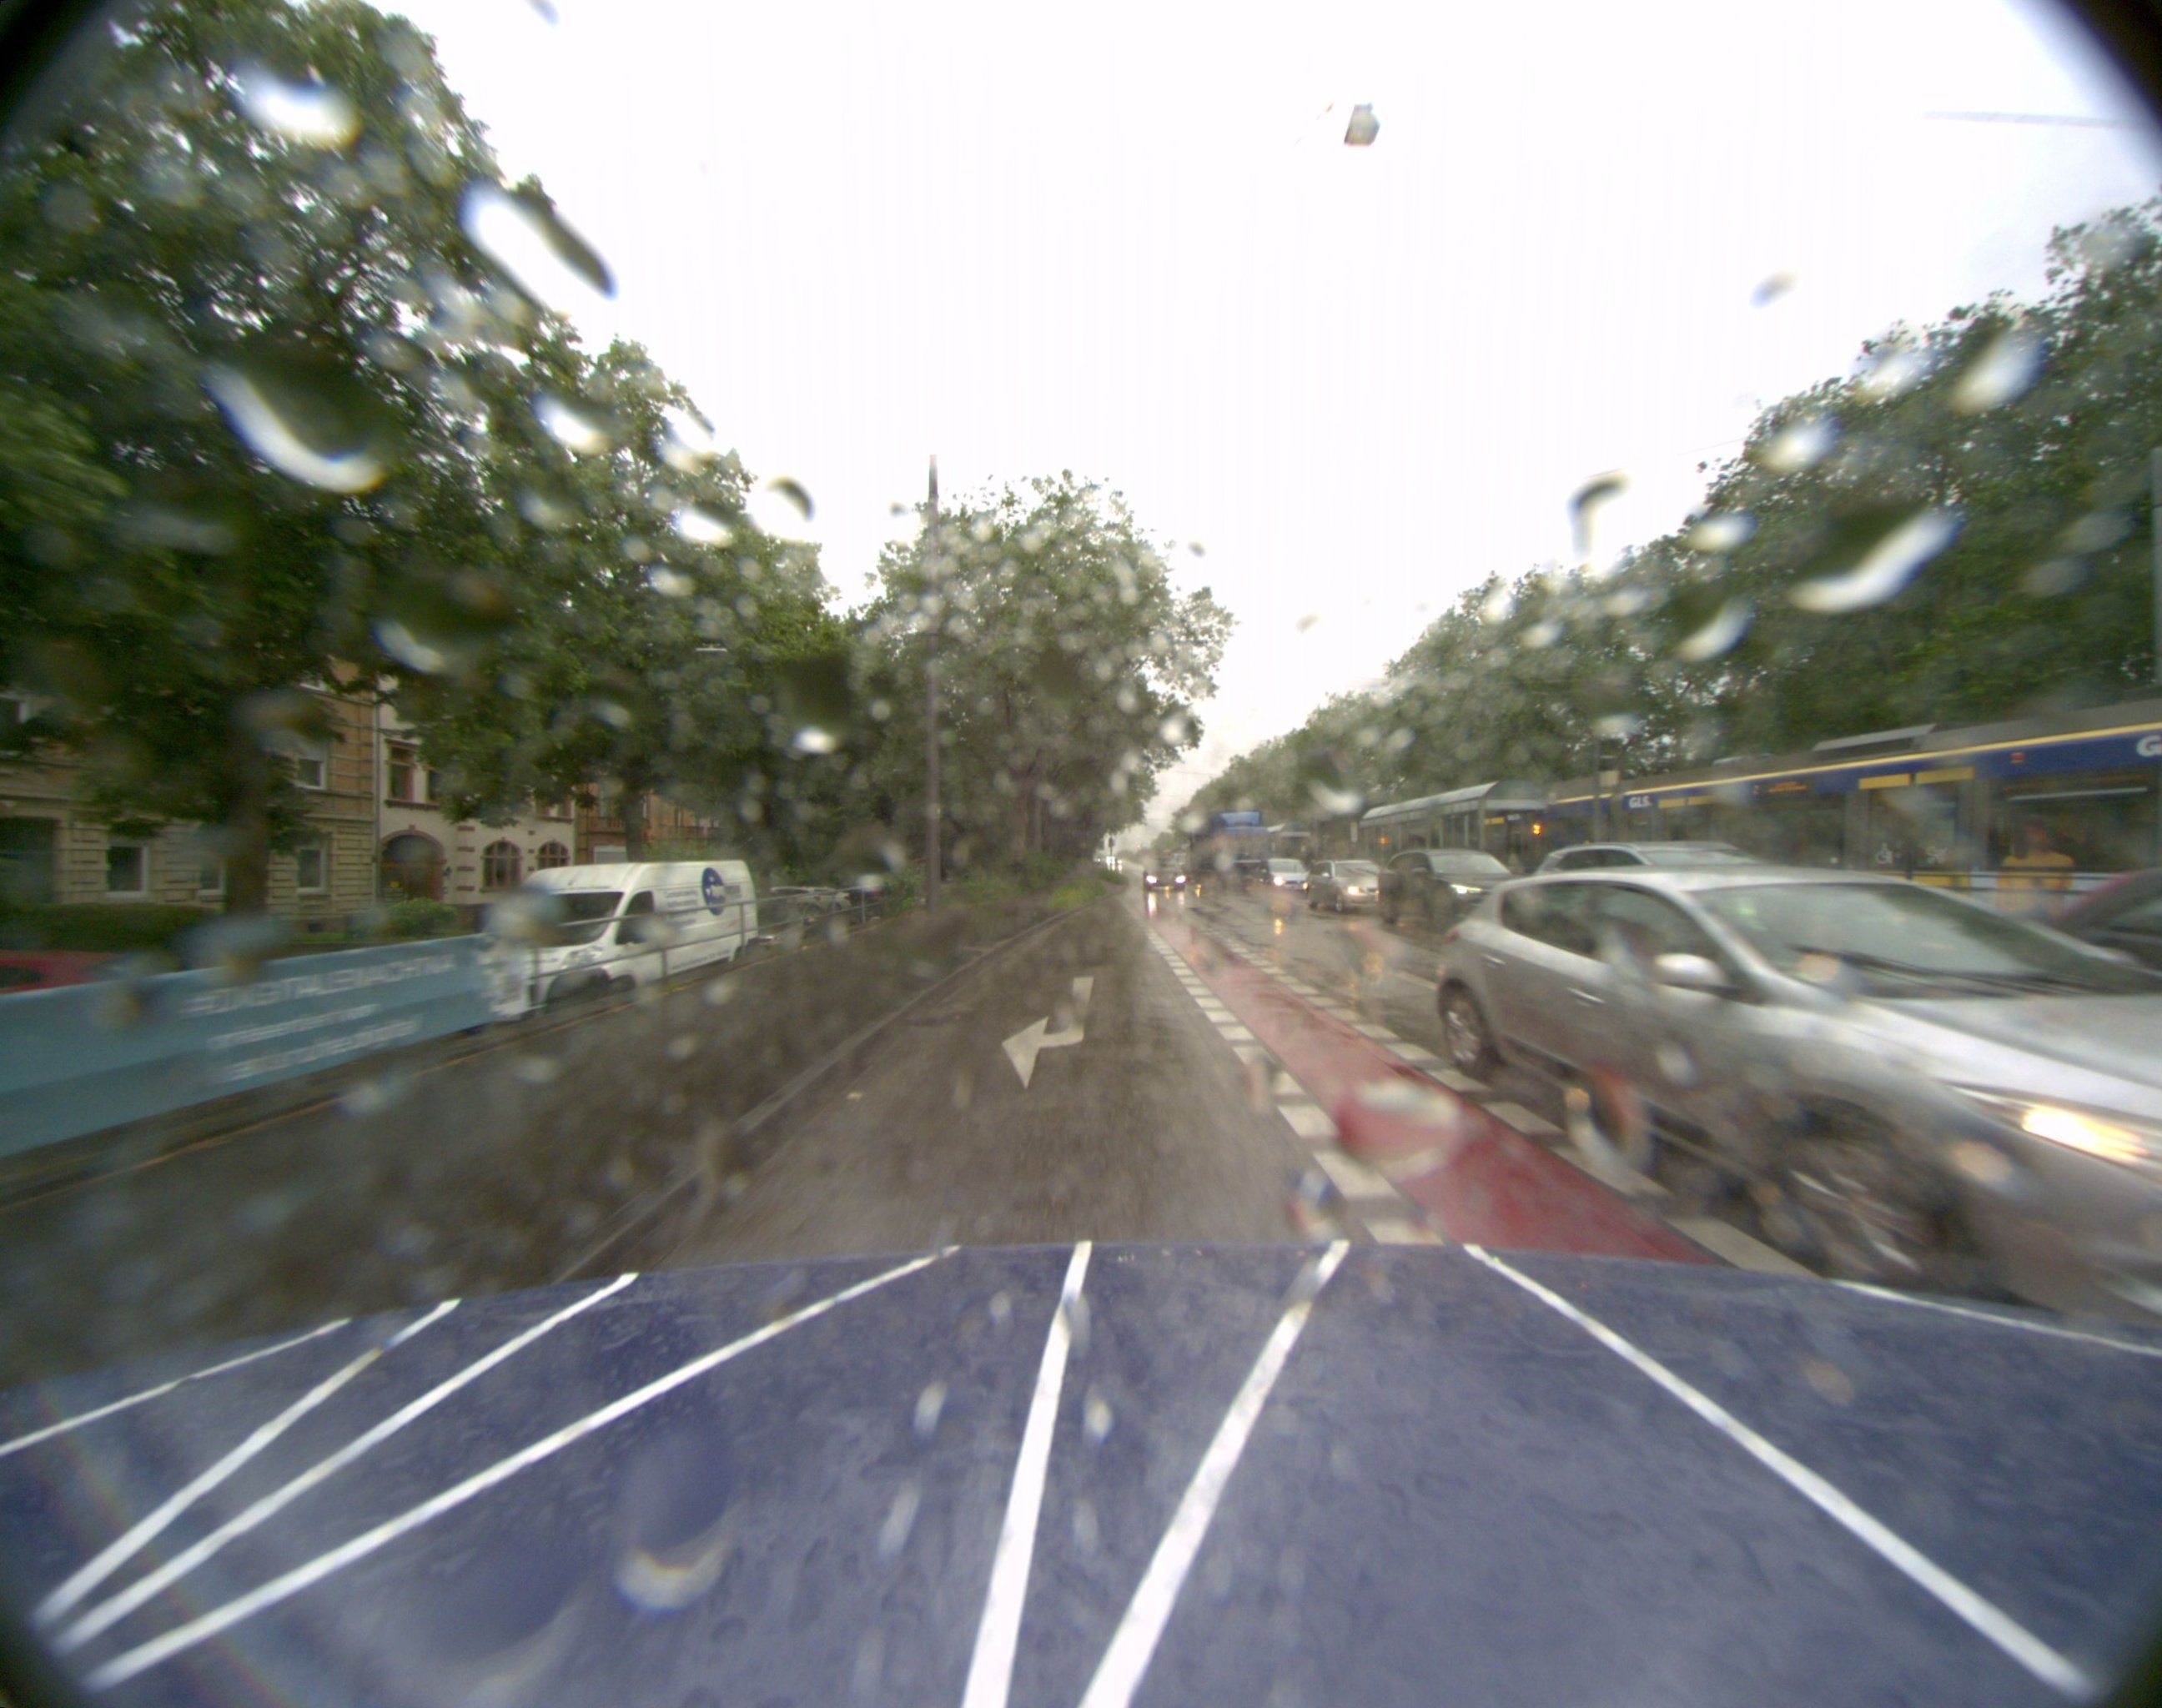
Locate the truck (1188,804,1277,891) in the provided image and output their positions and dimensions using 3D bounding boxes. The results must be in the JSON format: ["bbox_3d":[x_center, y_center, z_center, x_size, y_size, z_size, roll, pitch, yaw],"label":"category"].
[{"bbox_3d":[7.490,-0.278,38.964,2.545,3.866,9.811,0,0,0],"label":"truck"}]

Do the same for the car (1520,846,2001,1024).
[{"bbox_3d":[7.445,0.732,9.129,1.919,1.614,4.455,0,0,3],"label":"car"}]

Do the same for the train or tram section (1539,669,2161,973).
[{"bbox_3d":[13.872,-0.451,12.357,3.549,3.393,15.504,-3,0,1],"label":"train or tram section"}]

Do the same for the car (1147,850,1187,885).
[{"bbox_3d":[4.342,0.663,38.898,1.755,1.657,3.678,-2,0,3],"label":"car"}]

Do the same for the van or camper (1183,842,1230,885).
[{"bbox_3d":[8.077,0.564,49.599,1.998,2.555,6.431,-3,0,1],"label":"van or camper"}]

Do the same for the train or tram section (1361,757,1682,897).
[{"bbox_3d":[14.125,-0.718,26.829,3.521,3.492,13.660,-3,0,1],"label":"train or tram section"}]

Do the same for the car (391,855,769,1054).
[{"bbox_3d":[-7.619,1.286,12.727,2.214,2.406,6.158,-3,0,-1],"label":"car"}]

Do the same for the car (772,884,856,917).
[{"bbox_3d":[-15.021,2.592,42.798,4.006,1.557,1.995,-2,0,-34],"label":"car"}]

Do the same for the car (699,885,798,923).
[{"bbox_3d":[-15.720,2.321,35.940,4.006,1.455,1.995,-2,0,-30],"label":"car"}]

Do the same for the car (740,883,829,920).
[{"bbox_3d":[-15.368,2.402,39.372,4.006,1.599,1.821,-2,0,-30],"label":"car"}]

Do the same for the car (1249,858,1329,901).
[{"bbox_3d":[7.829,0.908,28.946,1.894,1.478,4.077,-1,0,0],"label":"car"}]

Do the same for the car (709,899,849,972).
[{"bbox_3d":[-7.638,2.008,19.748,1.972,1.345,4.383,-3,0,-2],"label":"car"}]

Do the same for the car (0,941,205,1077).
[{"bbox_3d":[-14.565,2.011,9.436,4.439,1.444,1.894,0,-1,-31],"label":"car"}]

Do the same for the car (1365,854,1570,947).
[{"bbox_3d":[7.693,0.830,15.692,1.999,1.611,4.320,-1,0,0],"label":"car"}]

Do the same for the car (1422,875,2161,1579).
[{"bbox_3d":[3.394,0.925,3.568,1.772,1.469,4.001,-2,0,0],"label":"car"}]

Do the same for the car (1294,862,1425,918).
[{"bbox_3d":[7.697,0.931,21.546,1.999,1.386,4.606,0,0,0],"label":"car"}]

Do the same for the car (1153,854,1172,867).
[{"bbox_3d":[8.041,0.611,74.892,1.467,1.185,3.615,-2,0,0],"label":"car"}]

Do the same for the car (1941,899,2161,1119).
[{"bbox_3d":[6.738,0.899,3.259,1.467,1.111,4.087,-2,0,0],"label":"car"}]

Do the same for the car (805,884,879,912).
[{"bbox_3d":[-15.095,2.725,48.063,4.006,1.455,1.908,-2,0,-34],"label":"car"}]

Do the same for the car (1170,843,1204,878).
[{"bbox_3d":[8.057,0.470,58.122,1.998,2.412,5.728,-3,0,3],"label":"car"}]

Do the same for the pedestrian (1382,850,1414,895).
[{"bbox_3d":[10.081,0.580,24.184,0.634,1.410,0.750,-3,1,0],"label":"pedestrian"}]
